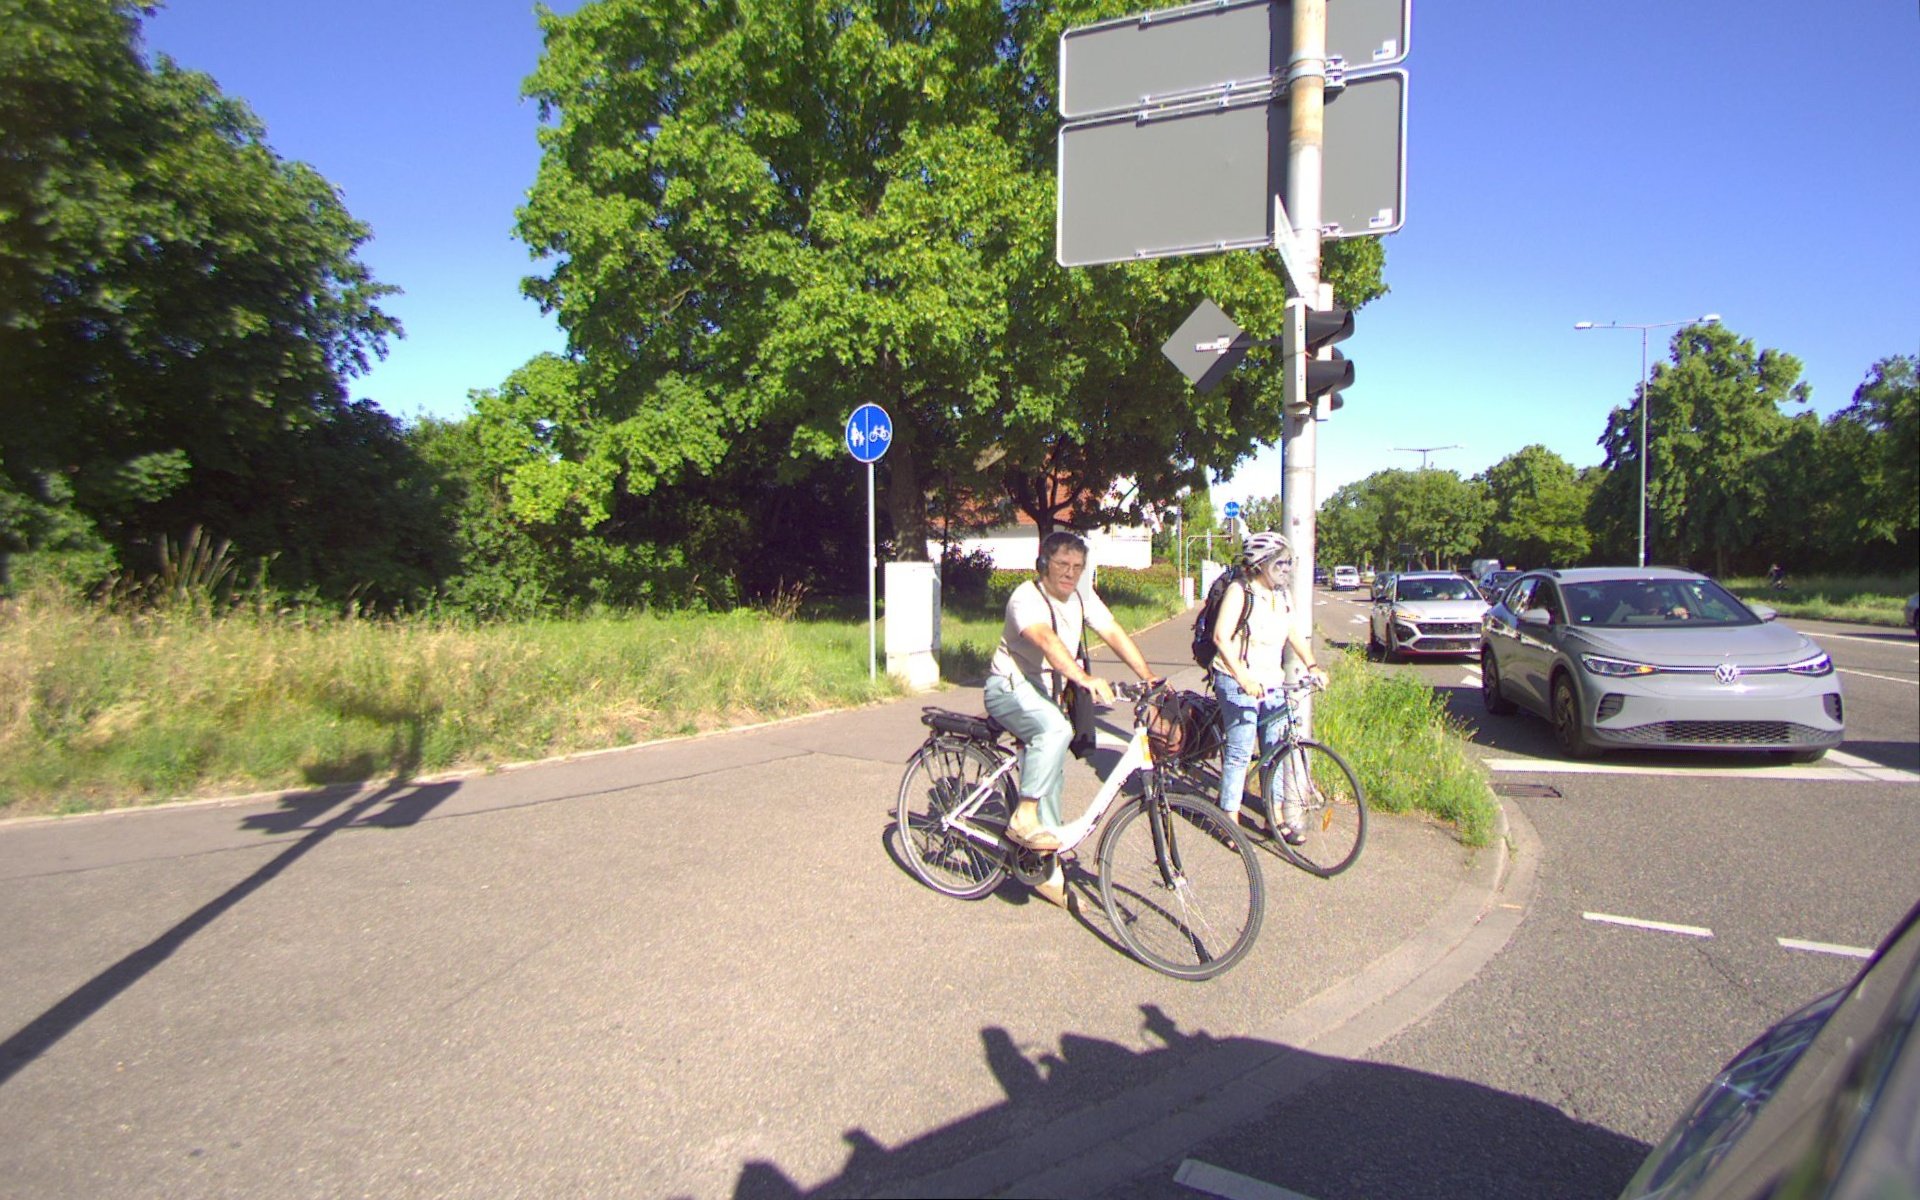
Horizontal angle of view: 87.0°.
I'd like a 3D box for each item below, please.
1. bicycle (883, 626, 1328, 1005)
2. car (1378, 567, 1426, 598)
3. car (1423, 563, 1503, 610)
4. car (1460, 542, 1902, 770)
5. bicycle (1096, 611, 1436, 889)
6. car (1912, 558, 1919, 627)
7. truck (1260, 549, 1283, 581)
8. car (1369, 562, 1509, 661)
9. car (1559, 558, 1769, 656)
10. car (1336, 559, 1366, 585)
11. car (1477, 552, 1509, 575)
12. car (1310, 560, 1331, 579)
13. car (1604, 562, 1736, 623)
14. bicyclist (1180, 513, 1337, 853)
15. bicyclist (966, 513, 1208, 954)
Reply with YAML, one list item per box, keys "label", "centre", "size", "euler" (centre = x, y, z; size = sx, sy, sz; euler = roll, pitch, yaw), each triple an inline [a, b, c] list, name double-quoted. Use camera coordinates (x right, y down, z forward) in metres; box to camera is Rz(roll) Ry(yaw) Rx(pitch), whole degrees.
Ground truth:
- label: "bicycle"
  centre: [0.514, 0.771, 4.287]
  size: [1.863, 1.089, 0.523]
  euler: [6, 7, 41]
- label: "car"
  centre: [22.380, -0.924, 51.351]
  size: [1.669, 1.457, 3.892]
  euler: [-2, 1, 17]
- label: "car"
  centre: [17.729, -0.527, 35.845]
  size: [1.895, 1.504, 4.340]
  euler: [-2, 1, 18]
- label: "car"
  centre: [6.427, 0.372, 9.743]
  size: [1.965, 1.660, 4.347]
  euler: [-2, 1, 14]
- label: "bicycle"
  centre: [1.555, 0.695, 5.525]
  size: [0.521, 1.089, 1.872]
  euler: [-3, 6, -32]
- label: "car"
  centre: [20.095, -0.076, 18.727]
  size: [1.811, 1.422, 4.333]
  euler: [0, 2, 17]
- label: "truck"
  centre: [31.477, -3.546, 102.388]
  size: [1.972, 3.114, 5.780]
  euler: [-2, 1, 16]
- label: "car"
  centre: [8.722, 0.128, 18.737]
  size: [1.669, 1.592, 4.100]
  euler: [-2, 1, 17]
- label: "car"
  centre: [12.481, 0.052, 18.291]
  size: [1.895, 1.504, 4.340]
  euler: [-2, 1, 18]
- label: "car"
  centre: [29.698, -2.144, 76.971]
  size: [1.775, 1.820, 3.892]
  euler: [-2, 1, 17]
- label: "car"
  centre: [52.269, -3.580, 99.286]
  size: [1.892, 2.110, 4.516]
  euler: [-2, 1, 17]
- label: "car"
  centre: [37.525, -3.165, 105.373]
  size: [1.816, 1.820, 3.892]
  euler: [-2, 1, 17]
- label: "car"
  centre: [18.731, -0.249, 26.902]
  size: [1.669, 1.457, 3.892]
  euler: [-2, 1, 17]
- label: "bicyclist"
  centre: [1.593, 0.392, 5.445]
  size: [0.517, 1.716, 0.586]
  euler: [-3, 5, -33]
- label: "bicyclist"
  centre: [0.519, 0.476, 4.257]
  size: [0.805, 1.654, 0.536]
  euler: [6, 7, 40]
